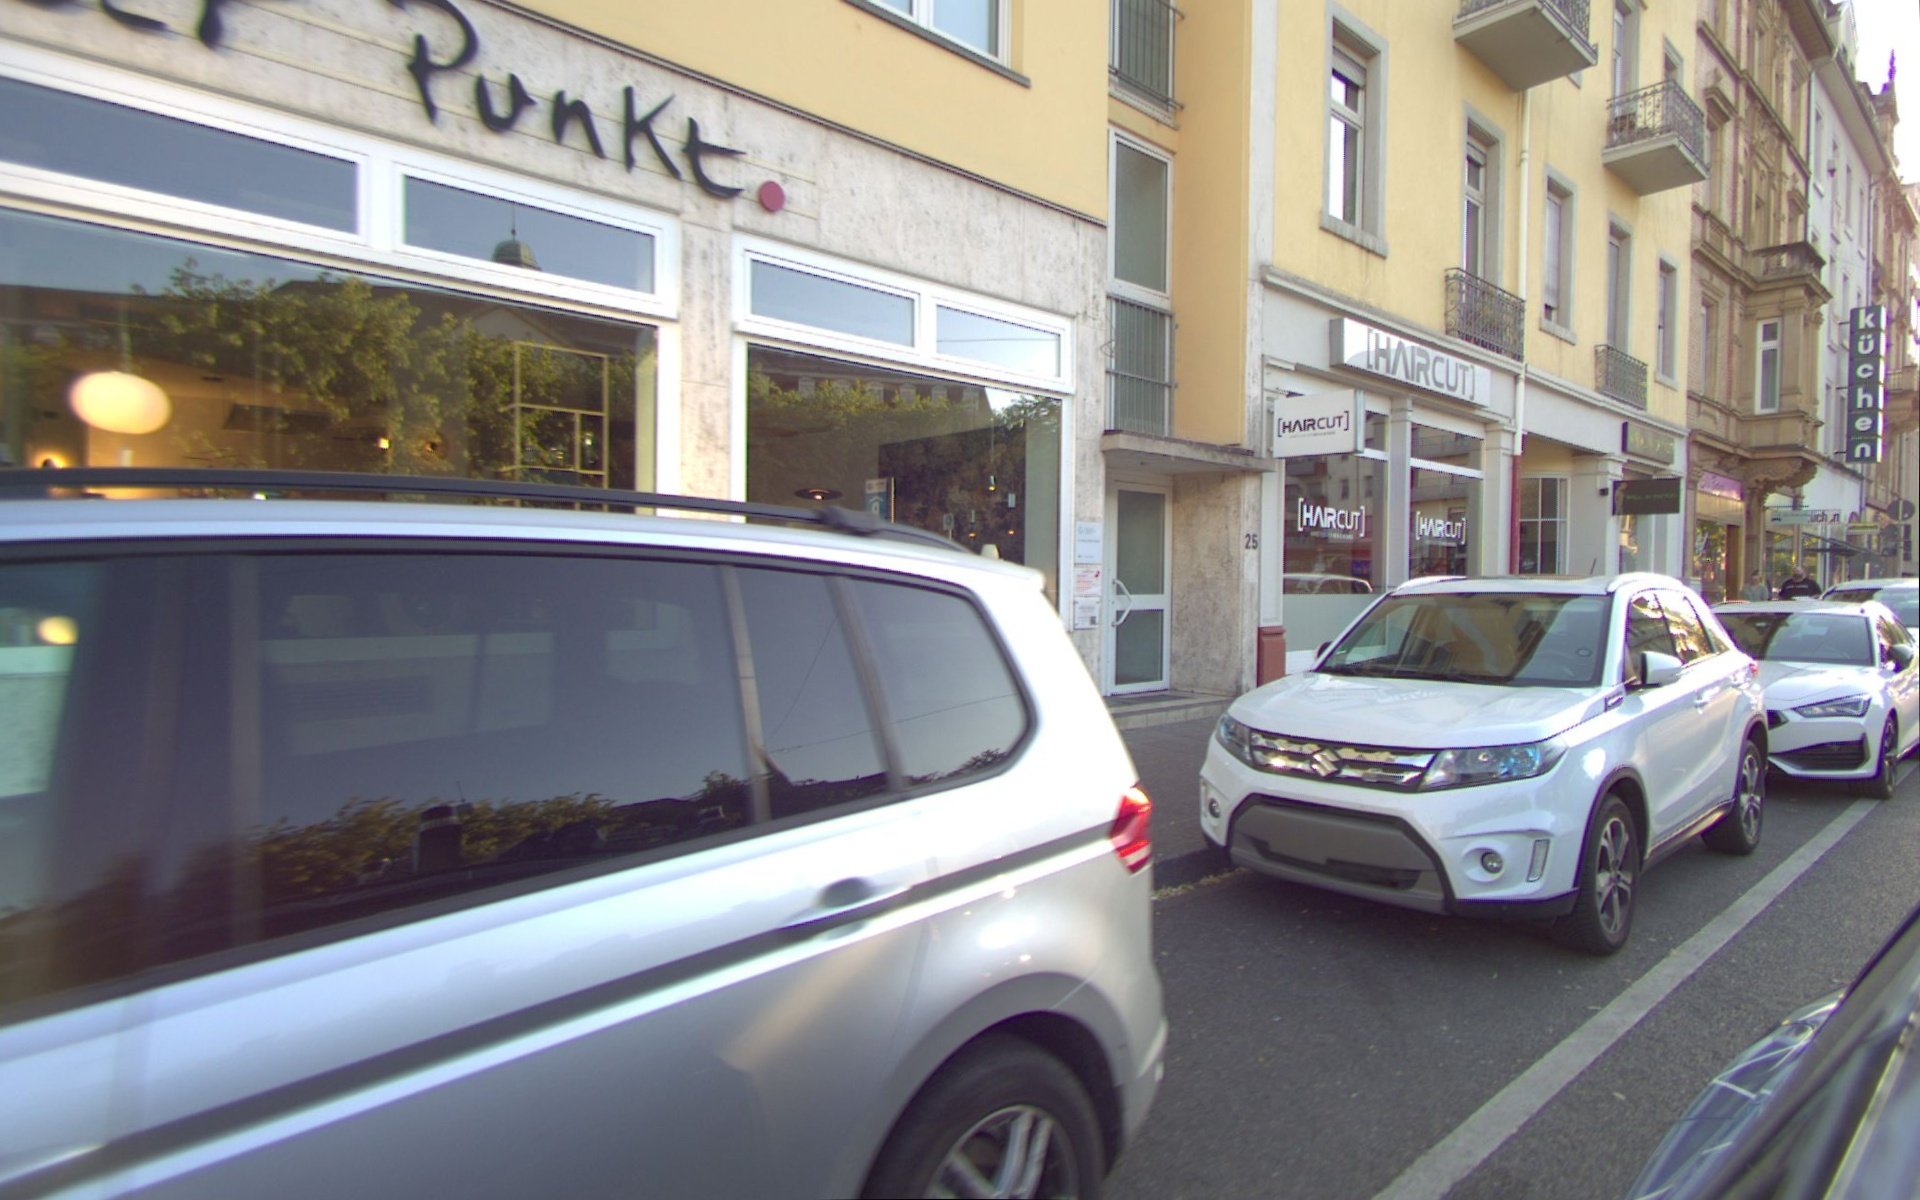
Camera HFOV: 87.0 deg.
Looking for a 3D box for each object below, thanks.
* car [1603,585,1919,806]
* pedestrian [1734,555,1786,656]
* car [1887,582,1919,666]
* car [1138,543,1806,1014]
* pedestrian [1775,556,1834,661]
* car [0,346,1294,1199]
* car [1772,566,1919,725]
[{"bbox_3d":[7.459,0.616,8.931,4.529,1.475,1.737,-1,1,-40],"label":"car"},{"bbox_3d":[16.593,0.103,20.985,0.836,2.039,0.673,0,1,-40],"label":"pedestrian"},{"bbox_3d":[19.775,0.432,19.875,4.373,1.559,1.906,-1,1,-42],"label":"car"},{"bbox_3d":[3.021,0.590,5.562,4.129,1.641,1.820,0,1,-40],"label":"car"},{"bbox_3d":[16.971,0.155,20.338,0.836,2.039,0.763,0,1,-40],"label":"pedestrian"},{"bbox_3d":[-1.455,0.577,1.512,4.603,1.636,1.700,-1,1,-43],"label":"car"},{"bbox_3d":[11.721,0.462,12.477,4.352,1.694,1.876,0,1,-40],"label":"car"}]
